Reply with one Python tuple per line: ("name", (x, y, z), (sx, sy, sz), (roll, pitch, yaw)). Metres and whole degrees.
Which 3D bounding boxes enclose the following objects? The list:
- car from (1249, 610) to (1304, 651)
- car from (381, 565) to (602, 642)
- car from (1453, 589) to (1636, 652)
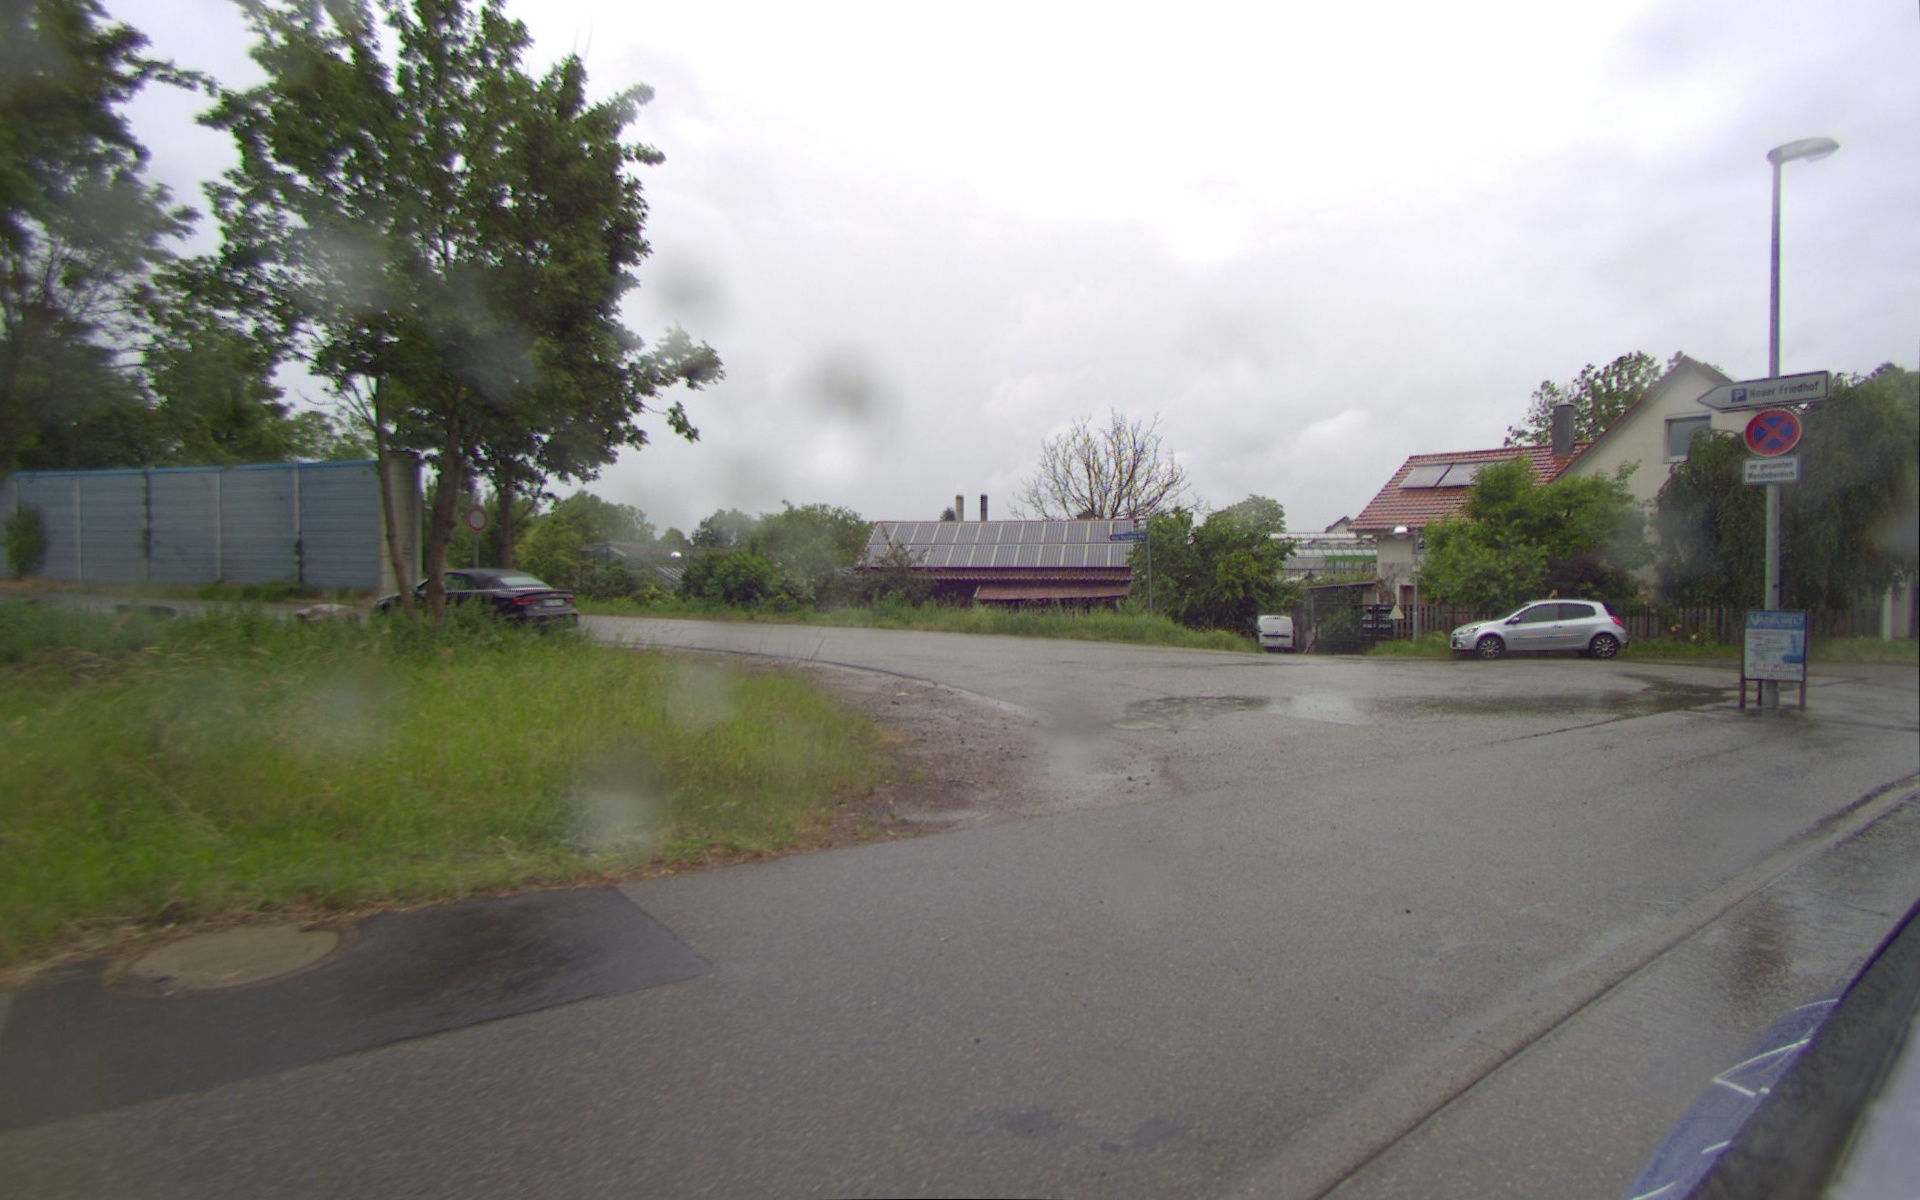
("car", (14.285, 1.330, 45.842), (1.903, 1.705, 3.987), (-1, 0, 11))
("car", (-9.225, 0.085, 19.903), (4.071, 1.376, 1.887), (-1, 0, 28))
("car", (14.985, 0.514, 26.178), (3.807, 1.551, 1.708), (-1, 0, 20))
